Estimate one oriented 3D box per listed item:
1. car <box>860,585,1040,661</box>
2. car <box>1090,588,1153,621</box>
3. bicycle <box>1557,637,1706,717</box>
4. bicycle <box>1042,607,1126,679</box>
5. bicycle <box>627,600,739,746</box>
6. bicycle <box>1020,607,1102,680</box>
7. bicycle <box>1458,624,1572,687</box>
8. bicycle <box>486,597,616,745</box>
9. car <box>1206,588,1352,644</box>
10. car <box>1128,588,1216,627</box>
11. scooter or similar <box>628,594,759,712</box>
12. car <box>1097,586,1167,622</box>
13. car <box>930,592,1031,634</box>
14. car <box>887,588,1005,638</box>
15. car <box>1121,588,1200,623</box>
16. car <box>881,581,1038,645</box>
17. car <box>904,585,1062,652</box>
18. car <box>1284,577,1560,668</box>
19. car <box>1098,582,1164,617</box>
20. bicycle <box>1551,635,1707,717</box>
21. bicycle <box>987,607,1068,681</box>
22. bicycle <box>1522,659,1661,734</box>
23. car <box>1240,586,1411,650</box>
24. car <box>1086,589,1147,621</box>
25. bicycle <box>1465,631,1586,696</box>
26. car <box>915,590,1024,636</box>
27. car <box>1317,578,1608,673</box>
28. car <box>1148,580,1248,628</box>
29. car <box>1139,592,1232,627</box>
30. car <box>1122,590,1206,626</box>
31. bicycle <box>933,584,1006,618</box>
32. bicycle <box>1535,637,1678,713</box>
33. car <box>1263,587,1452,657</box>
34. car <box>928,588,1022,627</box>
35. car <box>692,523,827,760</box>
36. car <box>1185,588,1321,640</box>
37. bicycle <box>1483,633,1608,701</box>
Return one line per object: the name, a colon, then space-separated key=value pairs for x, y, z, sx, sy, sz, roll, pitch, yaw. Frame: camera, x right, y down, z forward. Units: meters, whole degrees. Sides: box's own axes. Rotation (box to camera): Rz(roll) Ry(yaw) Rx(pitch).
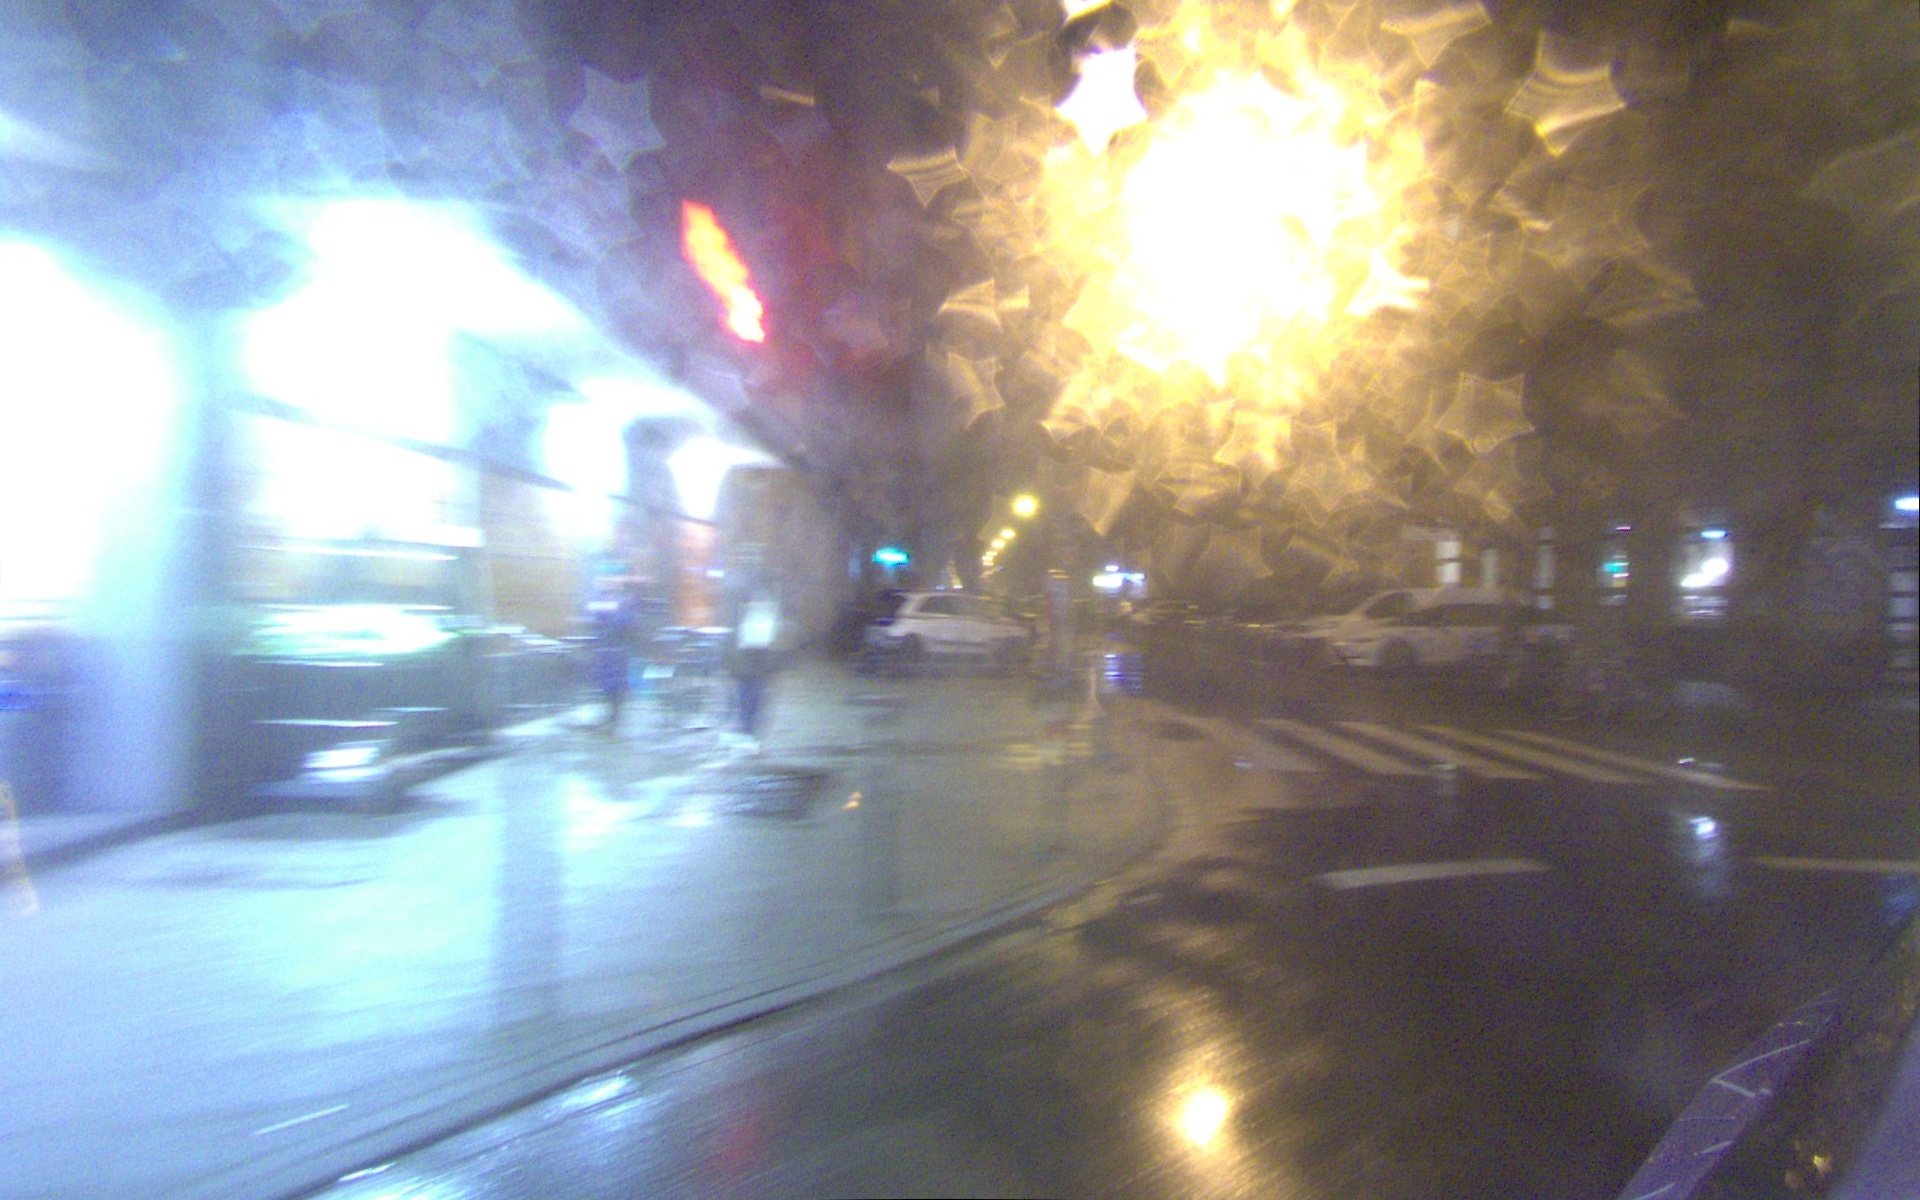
car: x=-0.228 y=0.512 z=22.649 sx=3.616 sy=1.598 sz=1.759 roll=1 pitch=-2 yaw=-25
car: x=10.785 y=0.295 z=67.730 sx=3.927 sy=2.039 sz=1.998 roll=2 pitch=0 yaw=3
bicycle: x=9.401 y=1.070 z=14.190 sx=1.776 sy=1.021 sz=0.403 roll=2 pitch=0 yaw=1
bicycle: x=2.144 y=0.735 z=17.748 sx=0.443 sy=1.192 sz=1.967 roll=1 pitch=-2 yaw=-26
bicycle: x=-2.461 y=0.598 z=9.181 sx=0.377 sy=1.189 sz=1.784 roll=1 pitch=0 yaw=4
bicycle: x=1.712 y=0.729 z=17.499 sx=0.443 sy=1.192 sz=1.967 roll=1 pitch=-2 yaw=-26
bicycle: x=9.734 y=0.973 z=17.776 sx=1.744 sy=1.021 sz=0.403 roll=2 pitch=0 yaw=1
bicycle: x=-3.604 y=0.594 z=9.040 sx=0.377 sy=1.189 sz=1.645 roll=-1 pitch=-1 yaw=4
car: x=10.955 y=0.552 z=35.017 sx=4.378 sy=1.785 sz=2.000 roll=1 pitch=-1 yaw=0
car: x=10.168 y=0.375 z=48.899 sx=3.930 sy=1.796 sz=1.997 roll=0 pitch=-1 yaw=6
scooter or similar: x=-2.989 y=0.581 z=11.403 sx=1.290 sy=1.245 sz=0.526 roll=2 pitch=-1 yaw=6
car: x=10.480 y=0.254 z=61.893 sx=3.927 sy=2.039 sz=1.998 roll=2 pitch=0 yaw=3
car: x=0.802 y=0.519 z=40.331 sx=3.616 sy=1.598 sz=1.759 roll=1 pitch=-2 yaw=-25
car: x=-0.482 y=0.452 z=34.350 sx=3.616 sy=1.598 sz=1.759 roll=1 pitch=-2 yaw=-25
car: x=10.633 y=0.310 z=53.874 sx=3.930 sy=1.795 sz=1.997 roll=0 pitch=-1 yaw=6
car: x=-0.018 y=0.384 z=28.197 sx=4.022 sy=1.684 sz=1.759 roll=1 pitch=-2 yaw=-25
car: x=0.583 y=0.476 z=25.855 sx=3.616 sy=1.598 sz=1.759 roll=1 pitch=-2 yaw=-25
car: x=10.575 y=0.507 z=23.436 sx=5.442 sy=1.914 sz=2.000 roll=1 pitch=-1 yaw=0
car: x=10.904 y=-0.032 z=64.803 sx=3.927 sy=2.039 sz=1.998 roll=2 pitch=0 yaw=3
bicycle: x=9.083 y=1.026 z=13.774 sx=1.776 sy=1.021 sz=0.455 roll=2 pitch=0 yaw=1
bicycle: x=1.121 y=0.722 z=17.174 sx=0.443 sy=1.192 sz=1.967 roll=1 pitch=-2 yaw=-26
bicycle: x=9.403 y=1.431 z=15.101 sx=1.776 sy=1.021 sz=0.403 roll=2 pitch=0 yaw=1
car: x=10.917 y=0.541 z=30.486 sx=4.378 sy=1.785 sz=2.000 roll=1 pitch=-1 yaw=0
car: x=10.856 y=0.352 z=70.487 sx=3.927 sy=2.039 sz=1.998 roll=2 pitch=0 yaw=3
bicycle: x=9.617 y=1.071 z=17.237 sx=1.776 sy=1.021 sz=0.403 roll=2 pitch=0 yaw=1
car: x=0.350 y=0.490 z=37.261 sx=3.616 sy=1.598 sz=1.759 roll=1 pitch=-2 yaw=-25
car: x=10.281 y=0.515 z=20.969 sx=4.999 sy=1.785 sz=2.000 roll=1 pitch=-1 yaw=0
car: x=10.244 y=0.190 z=43.835 sx=3.930 sy=2.040 sz=1.996 roll=0 pitch=-2 yaw=6
car: x=10.329 y=0.470 z=46.613 sx=3.930 sy=1.572 sz=1.997 roll=0 pitch=-1 yaw=6
car: x=10.289 y=0.426 z=51.308 sx=3.930 sy=1.795 sz=1.997 roll=0 pitch=-1 yaw=6
bicycle: x=0.582 y=0.060 z=61.631 sx=3.917 sy=2.039 sz=2.004 roll=1 pitch=0 yaw=-24
bicycle: x=9.353 y=1.079 z=14.671 sx=1.776 sy=1.021 sz=0.379 roll=2 pitch=0 yaw=2
car: x=10.865 y=0.596 z=27.906 sx=4.378 sy=1.785 sz=2.000 roll=1 pitch=-1 yaw=0
car: x=0.653 y=0.345 z=43.184 sx=3.616 sy=1.598 sz=1.759 roll=1 pitch=-2 yaw=-25
car: x=-1.669 y=0.331 z=8.574 sx=0.861 sy=1.864 sz=0.963 roll=2 pitch=-1 yaw=3
car: x=10.735 y=0.506 z=37.287 sx=4.378 sy=1.785 sz=2.000 roll=1 pitch=-1 yaw=0
bicycle: x=9.618 y=1.097 z=16.640 sx=1.776 sy=1.021 sz=0.403 roll=2 pitch=0 yaw=1
